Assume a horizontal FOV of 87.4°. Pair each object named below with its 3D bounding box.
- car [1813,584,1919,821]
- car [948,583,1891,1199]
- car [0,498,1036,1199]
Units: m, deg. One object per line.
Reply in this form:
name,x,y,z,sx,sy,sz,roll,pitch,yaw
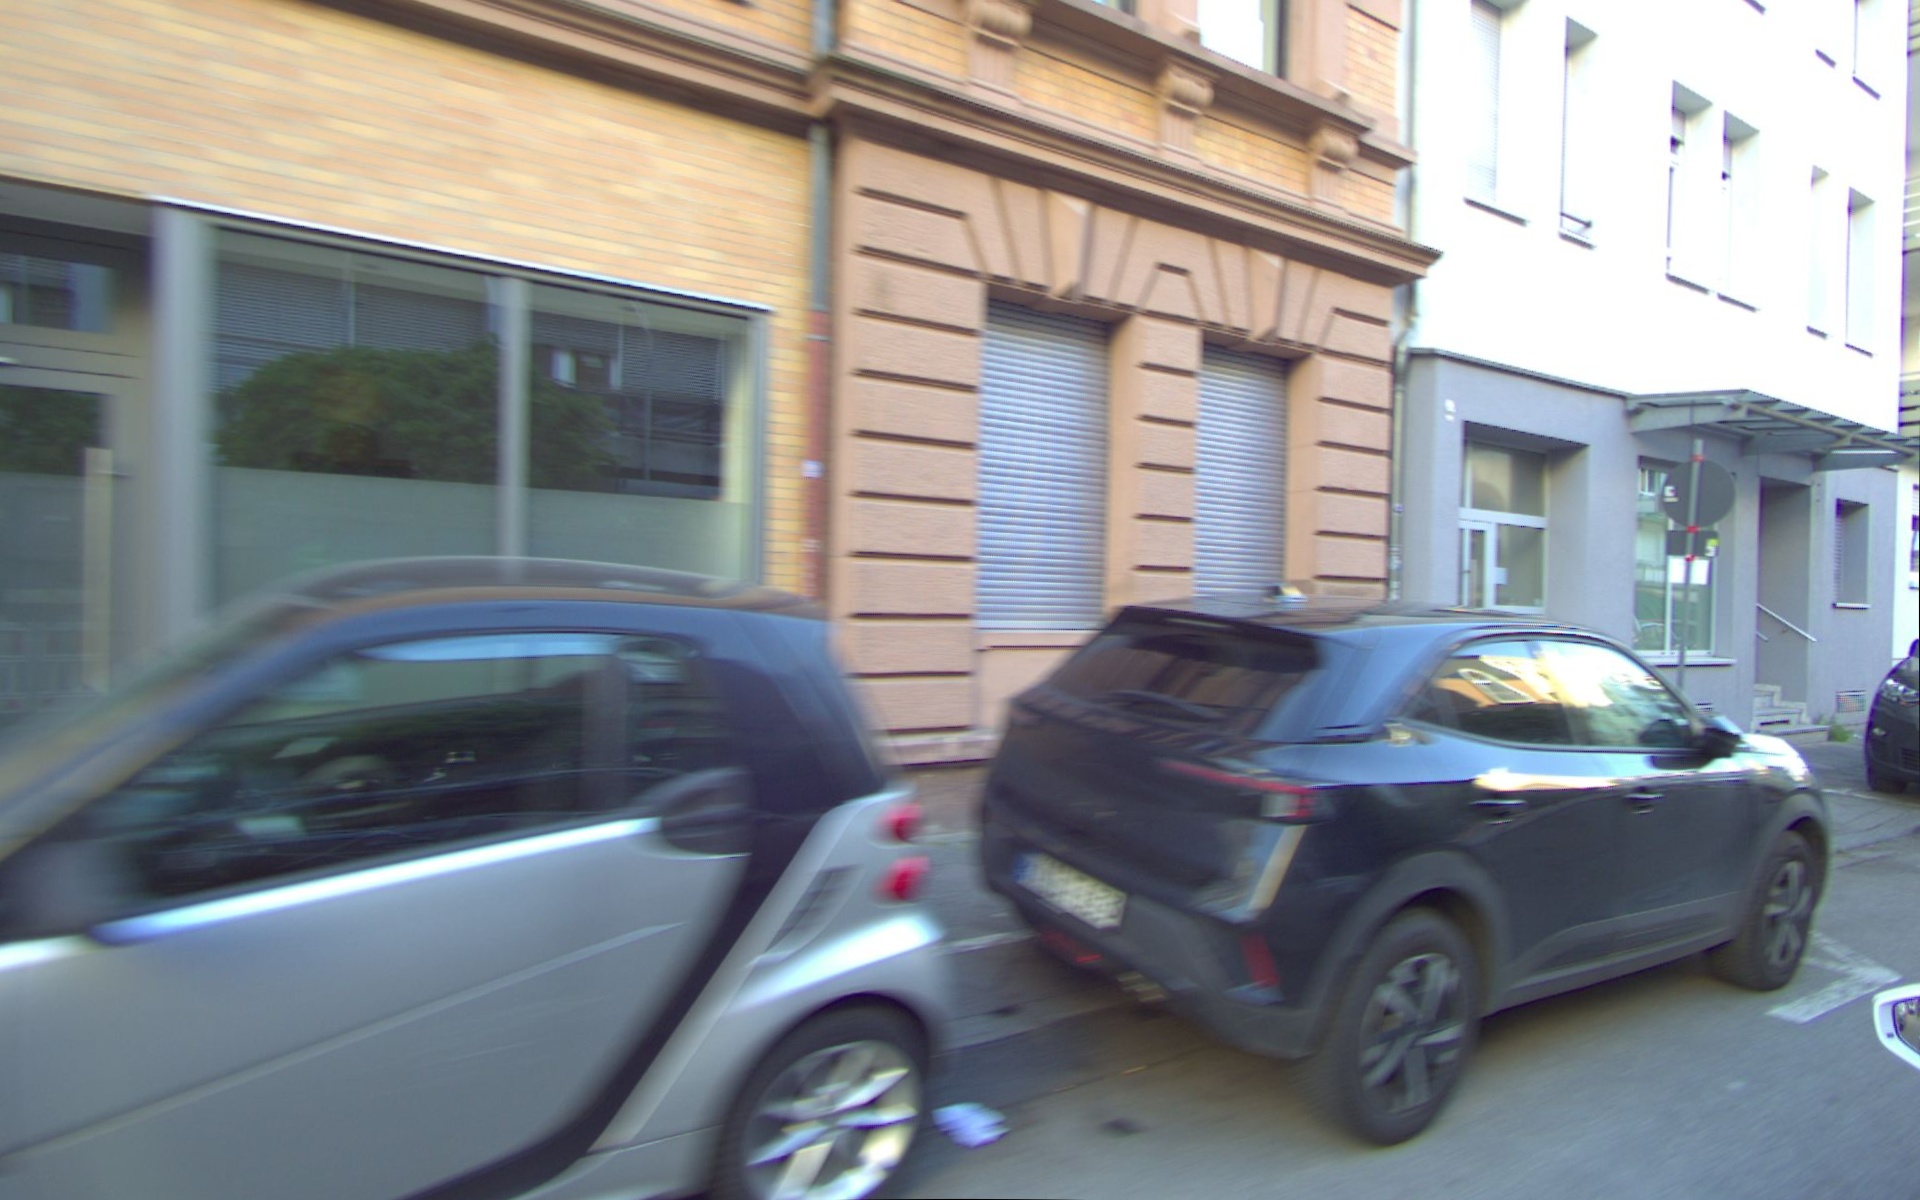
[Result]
car,9.712,0.859,8.914,4.534,1.883,1.982,1,0,-32
car,2.097,0.793,4.284,3.969,1.621,1.731,1,0,-32
car,-1.354,0.638,2.500,2.761,1.610,1.389,1,1,-31
